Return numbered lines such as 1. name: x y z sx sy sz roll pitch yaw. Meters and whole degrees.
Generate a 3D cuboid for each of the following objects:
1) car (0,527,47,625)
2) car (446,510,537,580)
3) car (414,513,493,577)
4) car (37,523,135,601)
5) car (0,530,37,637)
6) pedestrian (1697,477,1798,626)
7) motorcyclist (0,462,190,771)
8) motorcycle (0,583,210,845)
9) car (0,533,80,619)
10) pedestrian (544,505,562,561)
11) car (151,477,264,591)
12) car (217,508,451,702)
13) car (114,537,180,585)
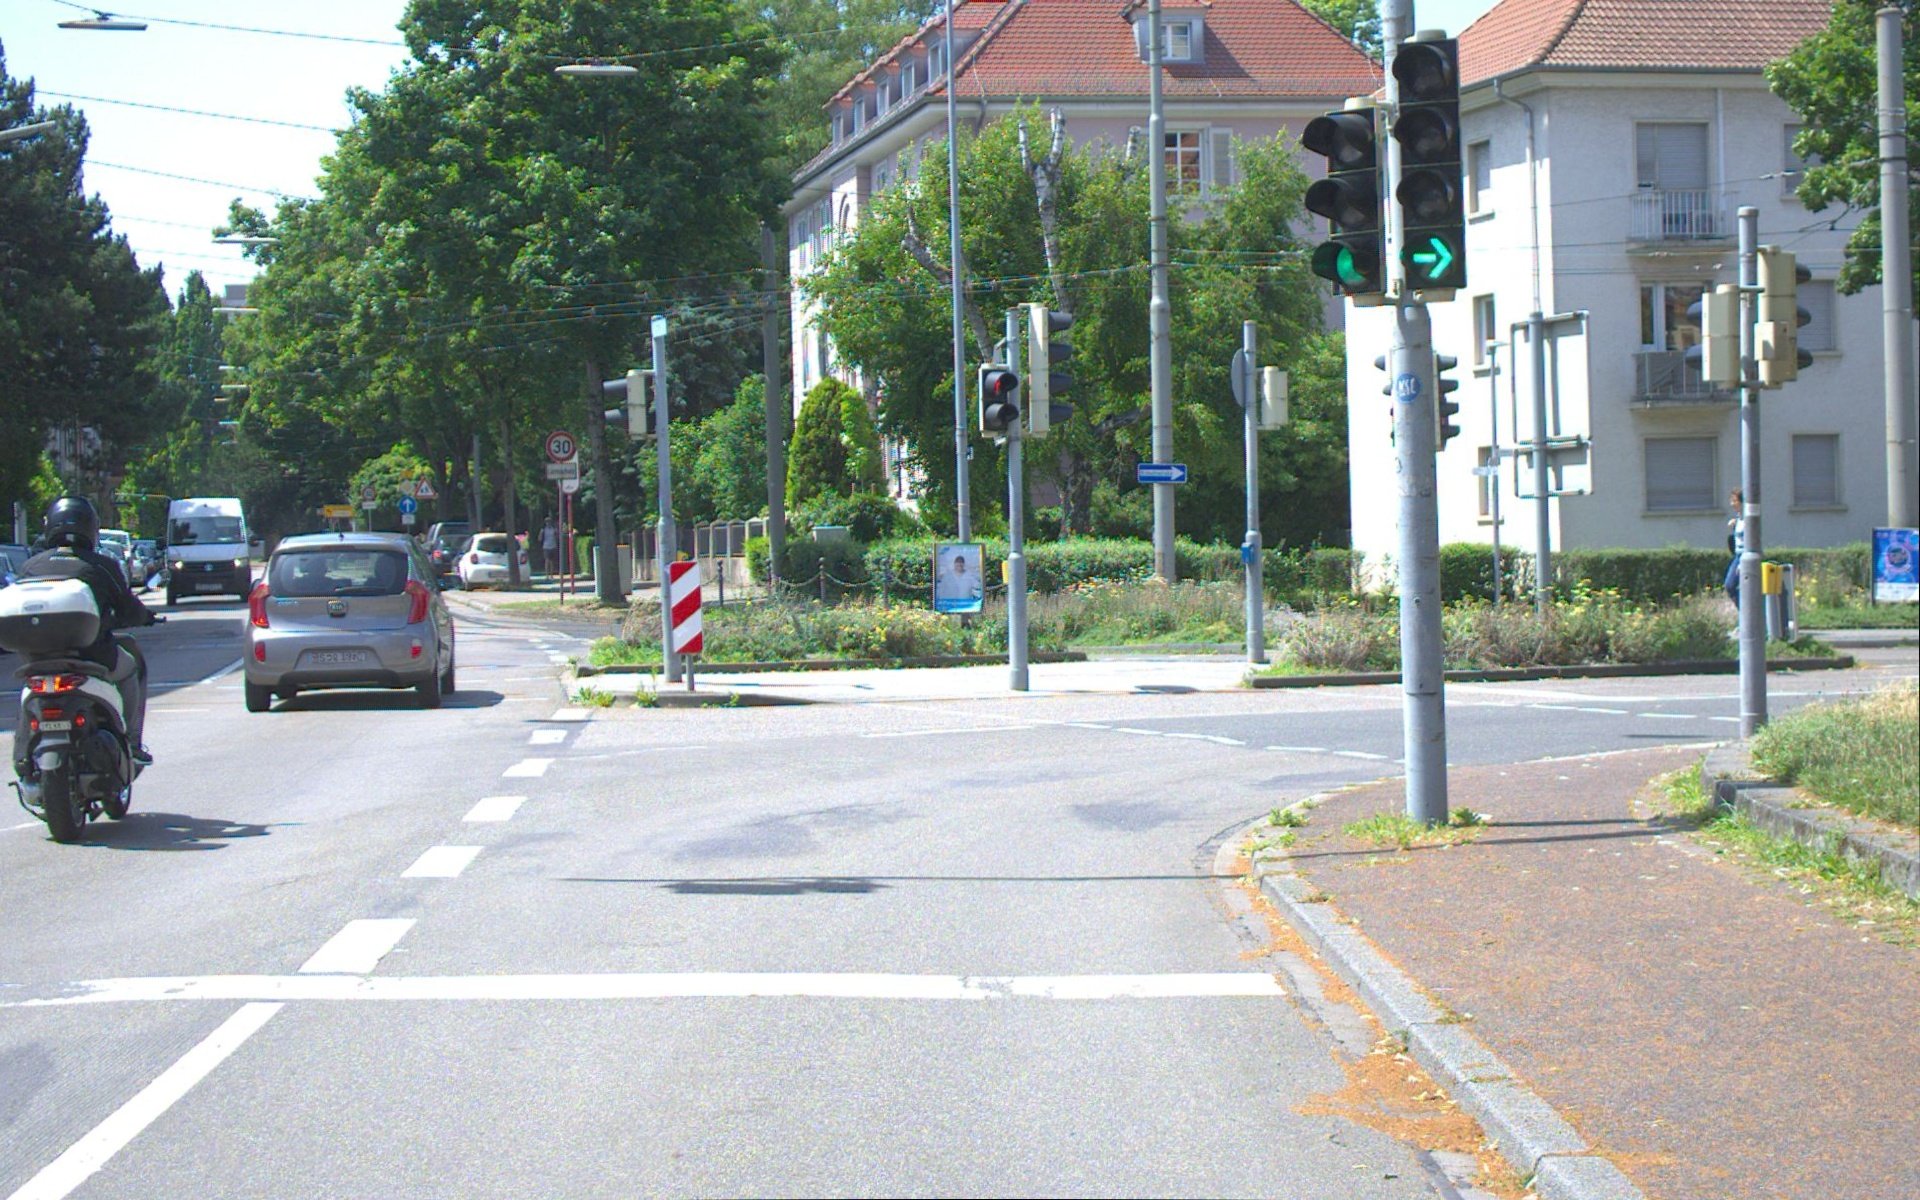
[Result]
1. car: -15.631 -0.375 54.770 1.993 1.514 4.001 0 0 -13
2. car: -12.359 -1.467 90.527 1.993 1.801 4.001 -1 1 -13
3. car: -15.297 -1.679 103.687 1.993 1.900 4.001 -1 1 -13
4. car: -20.199 -0.895 79.574 1.798 1.712 4.038 2 1 -9
5. car: -14.502 -0.237 50.040 1.993 1.514 4.001 0 0 -14
6. pedestrian: 9.133 -0.571 39.870 0.835 1.699 0.762 -1 1 -28
7. motorcyclist: -4.192 0.064 16.636 0.711 1.440 1.019 -1 1 -2
8. motorcycle: -4.187 0.510 16.584 0.711 1.130 2.197 -1 1 -2
9. car: -17.304 -0.450 63.387 1.993 1.504 4.001 -1 1 -14
10. pedestrian: -11.898 -1.964 100.527 0.508 1.650 0.466 0 1 -8
11. car: -18.291 -1.594 83.846 2.215 2.492 7.556 -4 2 -10
12. car: -5.395 -0.004 30.041 1.798 1.552 4.038 -1 1 -8
13. car: -28.299 -1.376 119.789 1.798 1.552 4.038 2 1 -7
